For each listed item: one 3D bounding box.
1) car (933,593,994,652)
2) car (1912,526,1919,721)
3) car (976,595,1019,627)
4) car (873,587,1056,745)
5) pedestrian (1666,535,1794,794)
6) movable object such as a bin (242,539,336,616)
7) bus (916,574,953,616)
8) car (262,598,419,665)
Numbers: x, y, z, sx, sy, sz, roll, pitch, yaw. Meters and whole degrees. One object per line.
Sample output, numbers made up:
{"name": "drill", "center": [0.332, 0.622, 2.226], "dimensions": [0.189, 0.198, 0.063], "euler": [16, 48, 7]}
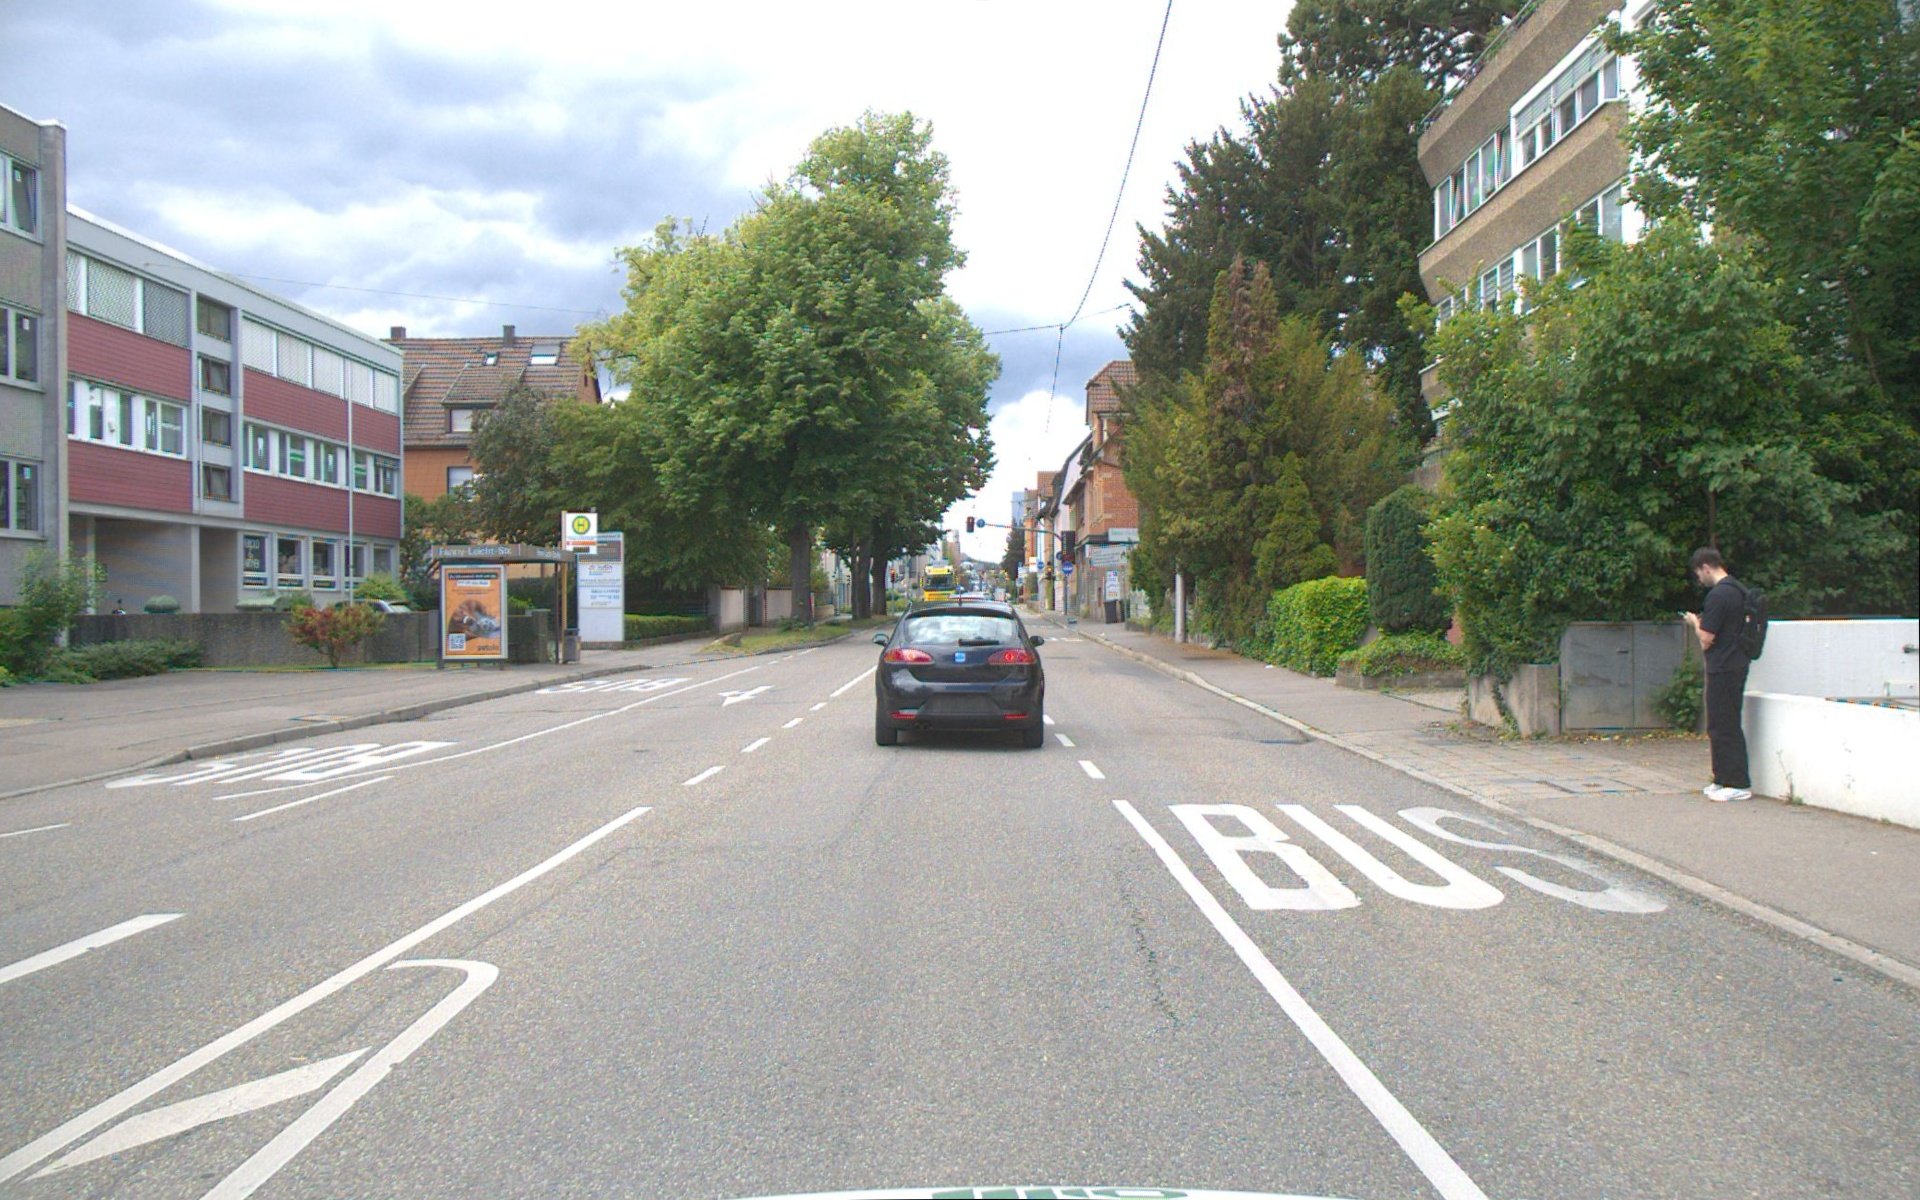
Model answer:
{"name": "car", "center": [0.147, 0.670, 52.475], "dimensions": [1.781, 1.729, 4.254], "euler": [-2, 1, 1]}
{"name": "car", "center": [10.941, 0.154, 14.652], "dimensions": [3.907, 1.820, 1.887], "euler": [-2, 0, -3]}
{"name": "car", "center": [1.844, 0.531, 82.836], "dimensions": [1.902, 1.507, 4.251], "euler": [-2, 1, -2]}
{"name": "car", "center": [-0.051, 0.621, 17.601], "dimensions": [1.724, 1.474, 3.712], "euler": [1, 0, -3]}
{"name": "pedestrian", "center": [5.383, 0.441, 11.583], "dimensions": [0.574, 1.741, 0.529], "euler": [-3, 0, -1]}
{"name": "movable object such as a bin", "center": [-18.734, -0.625, 46.215], "dimensions": [1.953, 2.049, 1.542], "euler": [-1, 0, -1]}
{"name": "bus", "center": [-1.963, -0.418, 130.096], "dimensions": [2.810, 3.191, 6.397], "euler": [-1, 0, 0]}
{"name": "car", "center": [-18.170, 0.904, 48.656], "dimensions": [3.907, 1.822, 1.854], "euler": [-1, 0, -3]}
